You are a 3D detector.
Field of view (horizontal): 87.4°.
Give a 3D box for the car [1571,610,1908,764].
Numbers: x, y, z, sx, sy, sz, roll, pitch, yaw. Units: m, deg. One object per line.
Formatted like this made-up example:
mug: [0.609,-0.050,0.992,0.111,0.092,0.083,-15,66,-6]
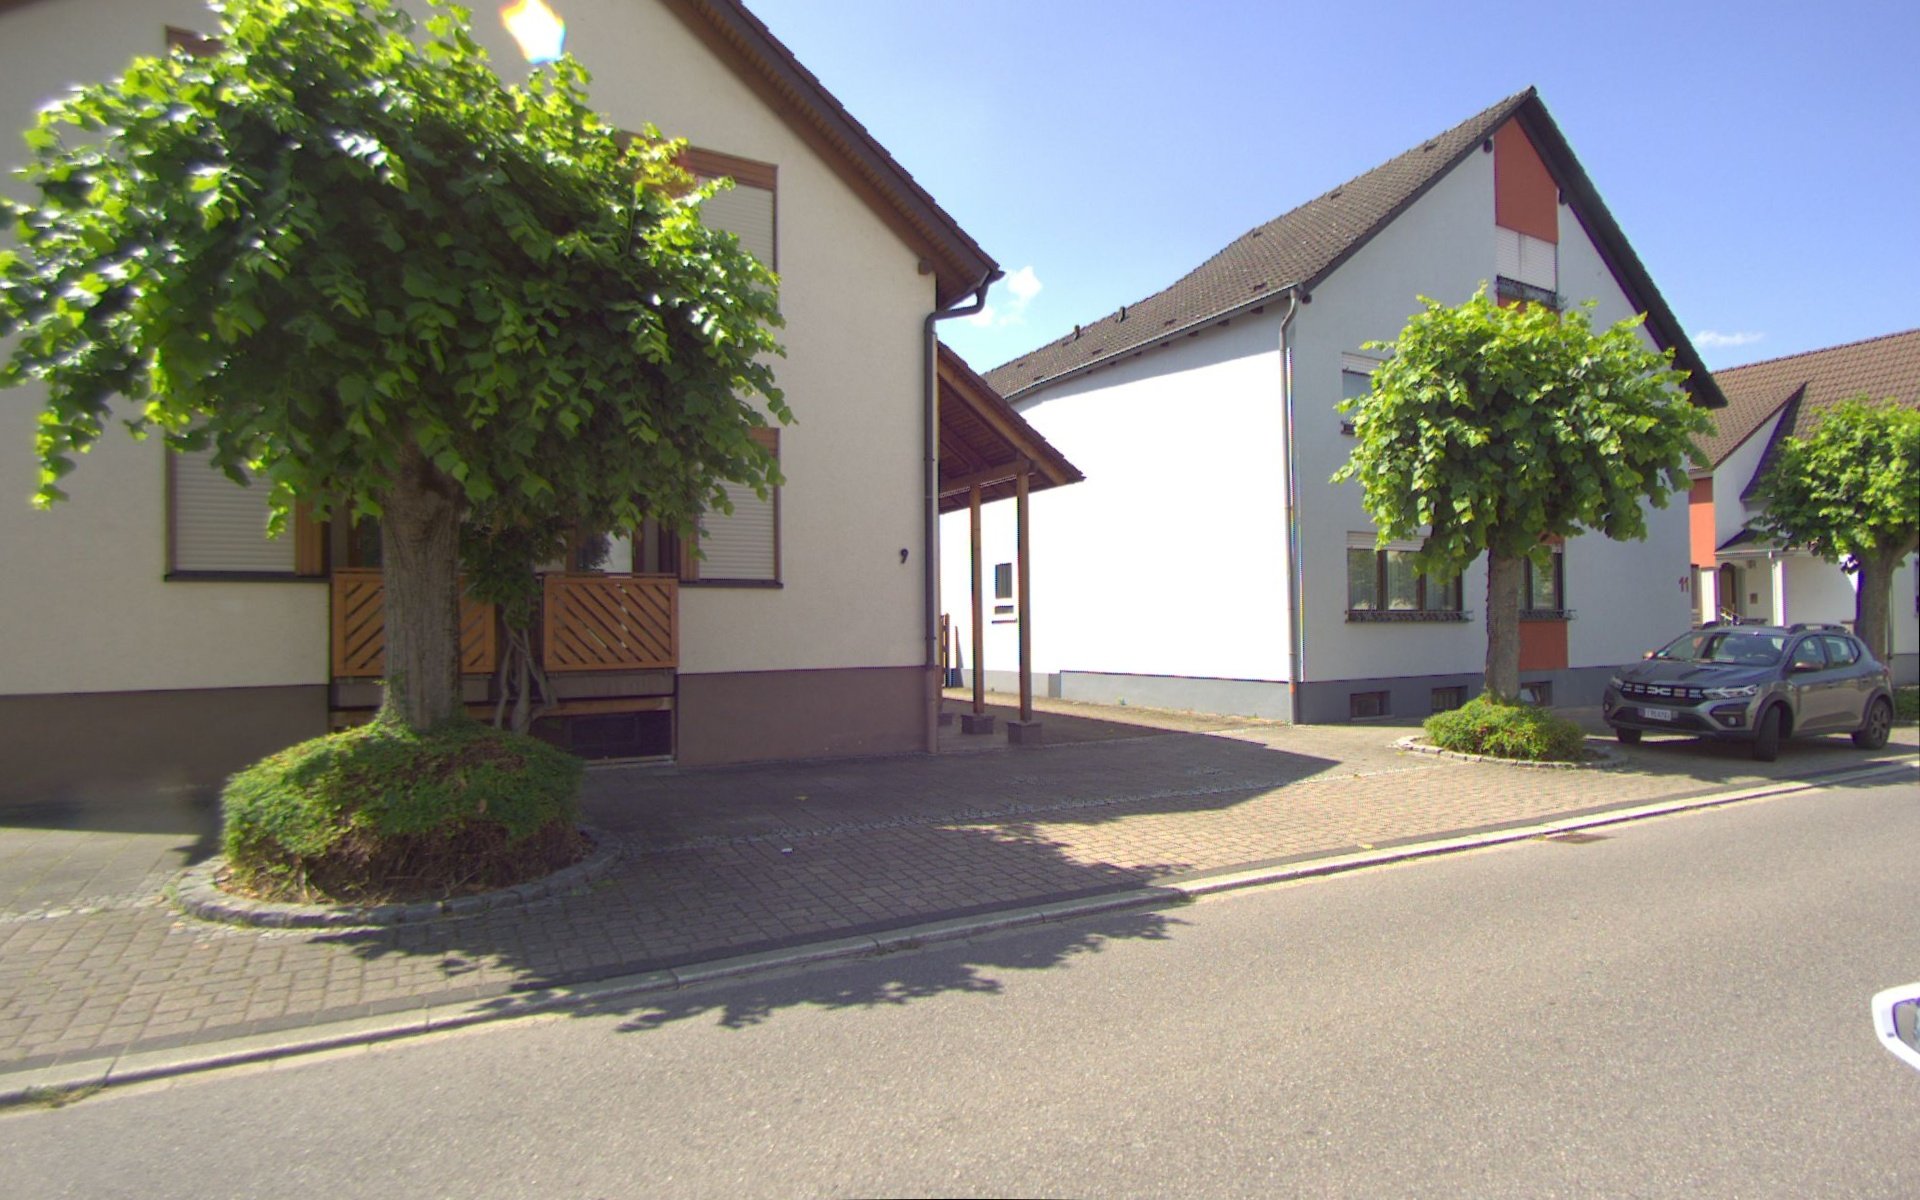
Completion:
car: [9.880,0.989,12.702,4.082,1.634,1.846,1,0,-28]
